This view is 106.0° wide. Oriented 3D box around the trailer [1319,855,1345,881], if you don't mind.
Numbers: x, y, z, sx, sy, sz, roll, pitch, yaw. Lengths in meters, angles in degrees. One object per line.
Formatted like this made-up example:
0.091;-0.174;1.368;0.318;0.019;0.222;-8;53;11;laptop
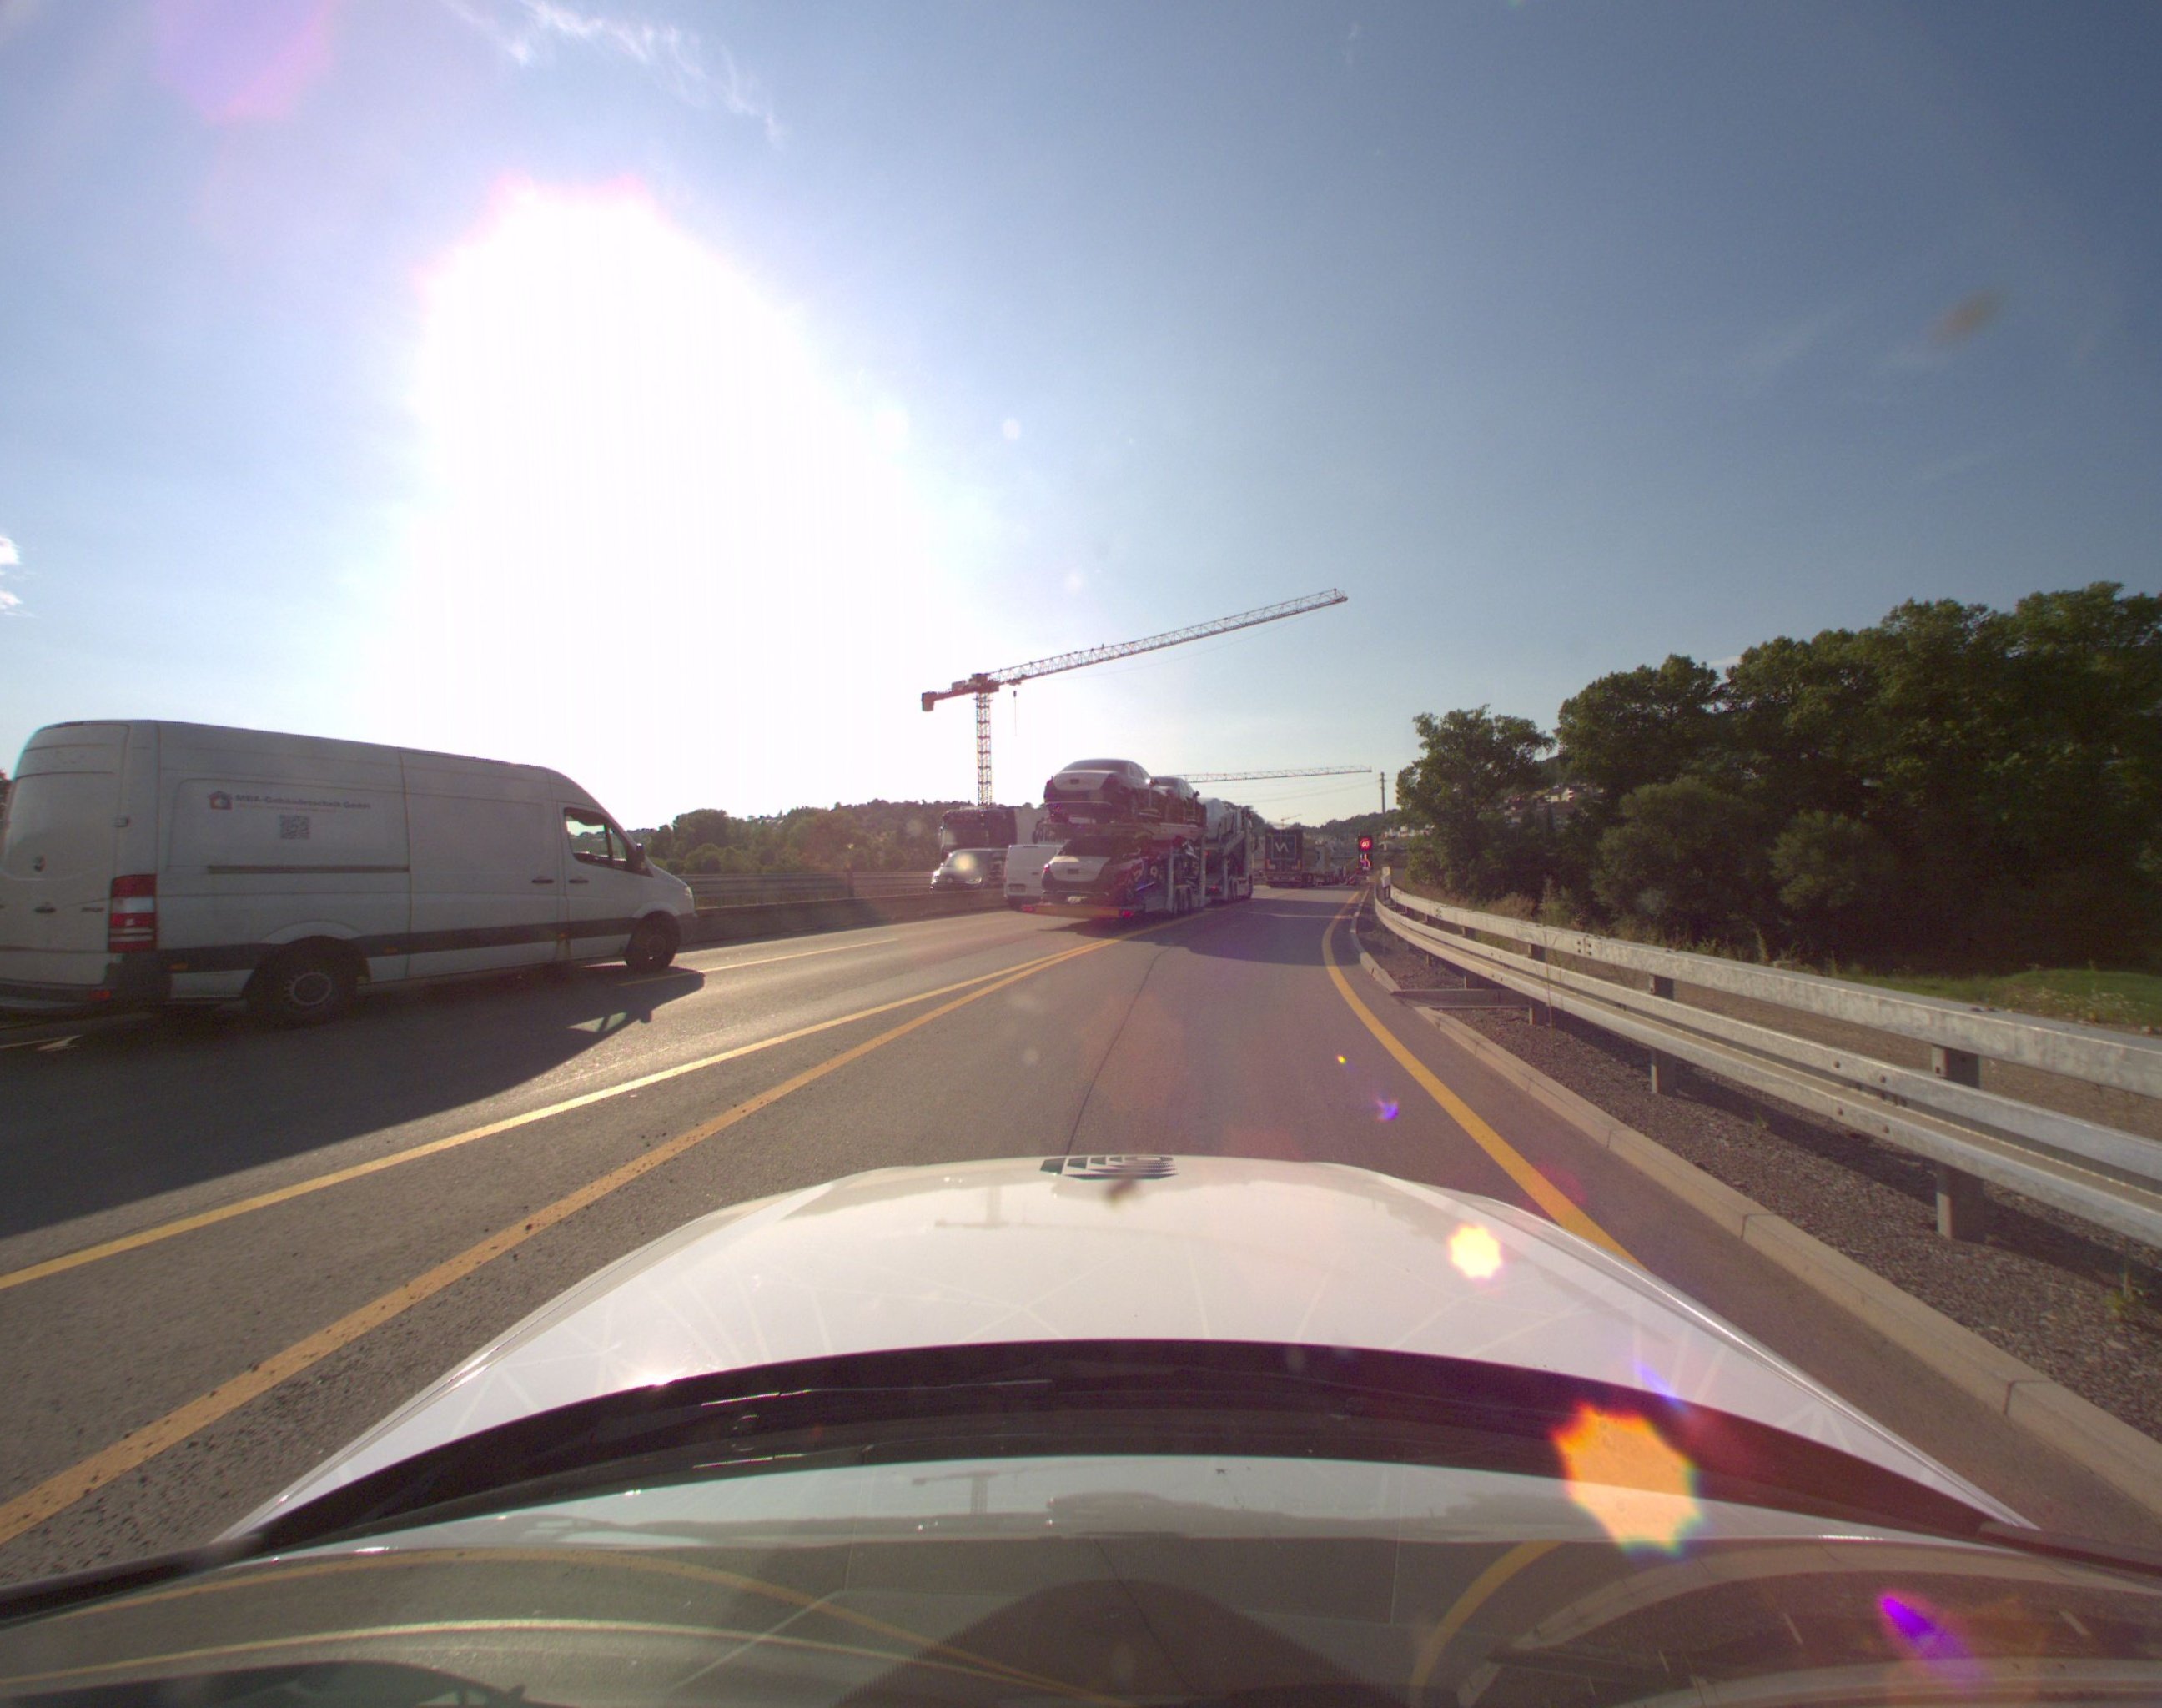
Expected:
41.351;2.347;133.928;3.357;3.997;14.815;-1;-2;19;trailer

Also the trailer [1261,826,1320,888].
15.669;0.348;60.284;2.934;4.092;10.847;-2;-2;20;trailer

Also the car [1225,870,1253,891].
13.231;2.235;68.158;1.816;1.654;4.018;-3;-2;17;car

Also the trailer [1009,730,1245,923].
2.403;-0.393;24.731;2.833;3.997;15.821;-1;-2;19;trailer

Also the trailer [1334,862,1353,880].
67.606;4.328;209.491;4.063;4.314;14.320;-1;-2;19;trailer

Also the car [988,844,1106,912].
-0.951;0.719;26.466;2.011;1.981;5.004;1;0;20;car

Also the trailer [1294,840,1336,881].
25.070;0.784;86.505;3.357;3.997;14.815;-1;-2;19;trailer

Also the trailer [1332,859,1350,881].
54.074;3.316;169.321;3.078;4.314;14.320;-1;-2;19;trailer

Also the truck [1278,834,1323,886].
17.917;0.526;66.244;2.860;3.997;6.657;-1;-2;20;truck

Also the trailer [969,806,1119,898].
-1.389;0.060;43.388;2.605;4.067;14.149;-3;-2;20;trailer

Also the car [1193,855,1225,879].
9.942;1.026;62.955;1.816;1.752;4.018;-3;-2;17;car

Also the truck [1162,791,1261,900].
5.524;-0.228;33.470;2.825;3.997;6.656;-1;-2;19;truck

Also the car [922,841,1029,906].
-3.531;0.694;28.215;1.978;2.014;4.512;-3;-2;16;car

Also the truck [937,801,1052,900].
-3.769;-0.062;37.048;2.605;4.067;6.160;-3;-2;20;truck

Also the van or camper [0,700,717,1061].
-7.034;0.252;9.020;1.977;2.620;5.930;-1;-1;18;van or camper
